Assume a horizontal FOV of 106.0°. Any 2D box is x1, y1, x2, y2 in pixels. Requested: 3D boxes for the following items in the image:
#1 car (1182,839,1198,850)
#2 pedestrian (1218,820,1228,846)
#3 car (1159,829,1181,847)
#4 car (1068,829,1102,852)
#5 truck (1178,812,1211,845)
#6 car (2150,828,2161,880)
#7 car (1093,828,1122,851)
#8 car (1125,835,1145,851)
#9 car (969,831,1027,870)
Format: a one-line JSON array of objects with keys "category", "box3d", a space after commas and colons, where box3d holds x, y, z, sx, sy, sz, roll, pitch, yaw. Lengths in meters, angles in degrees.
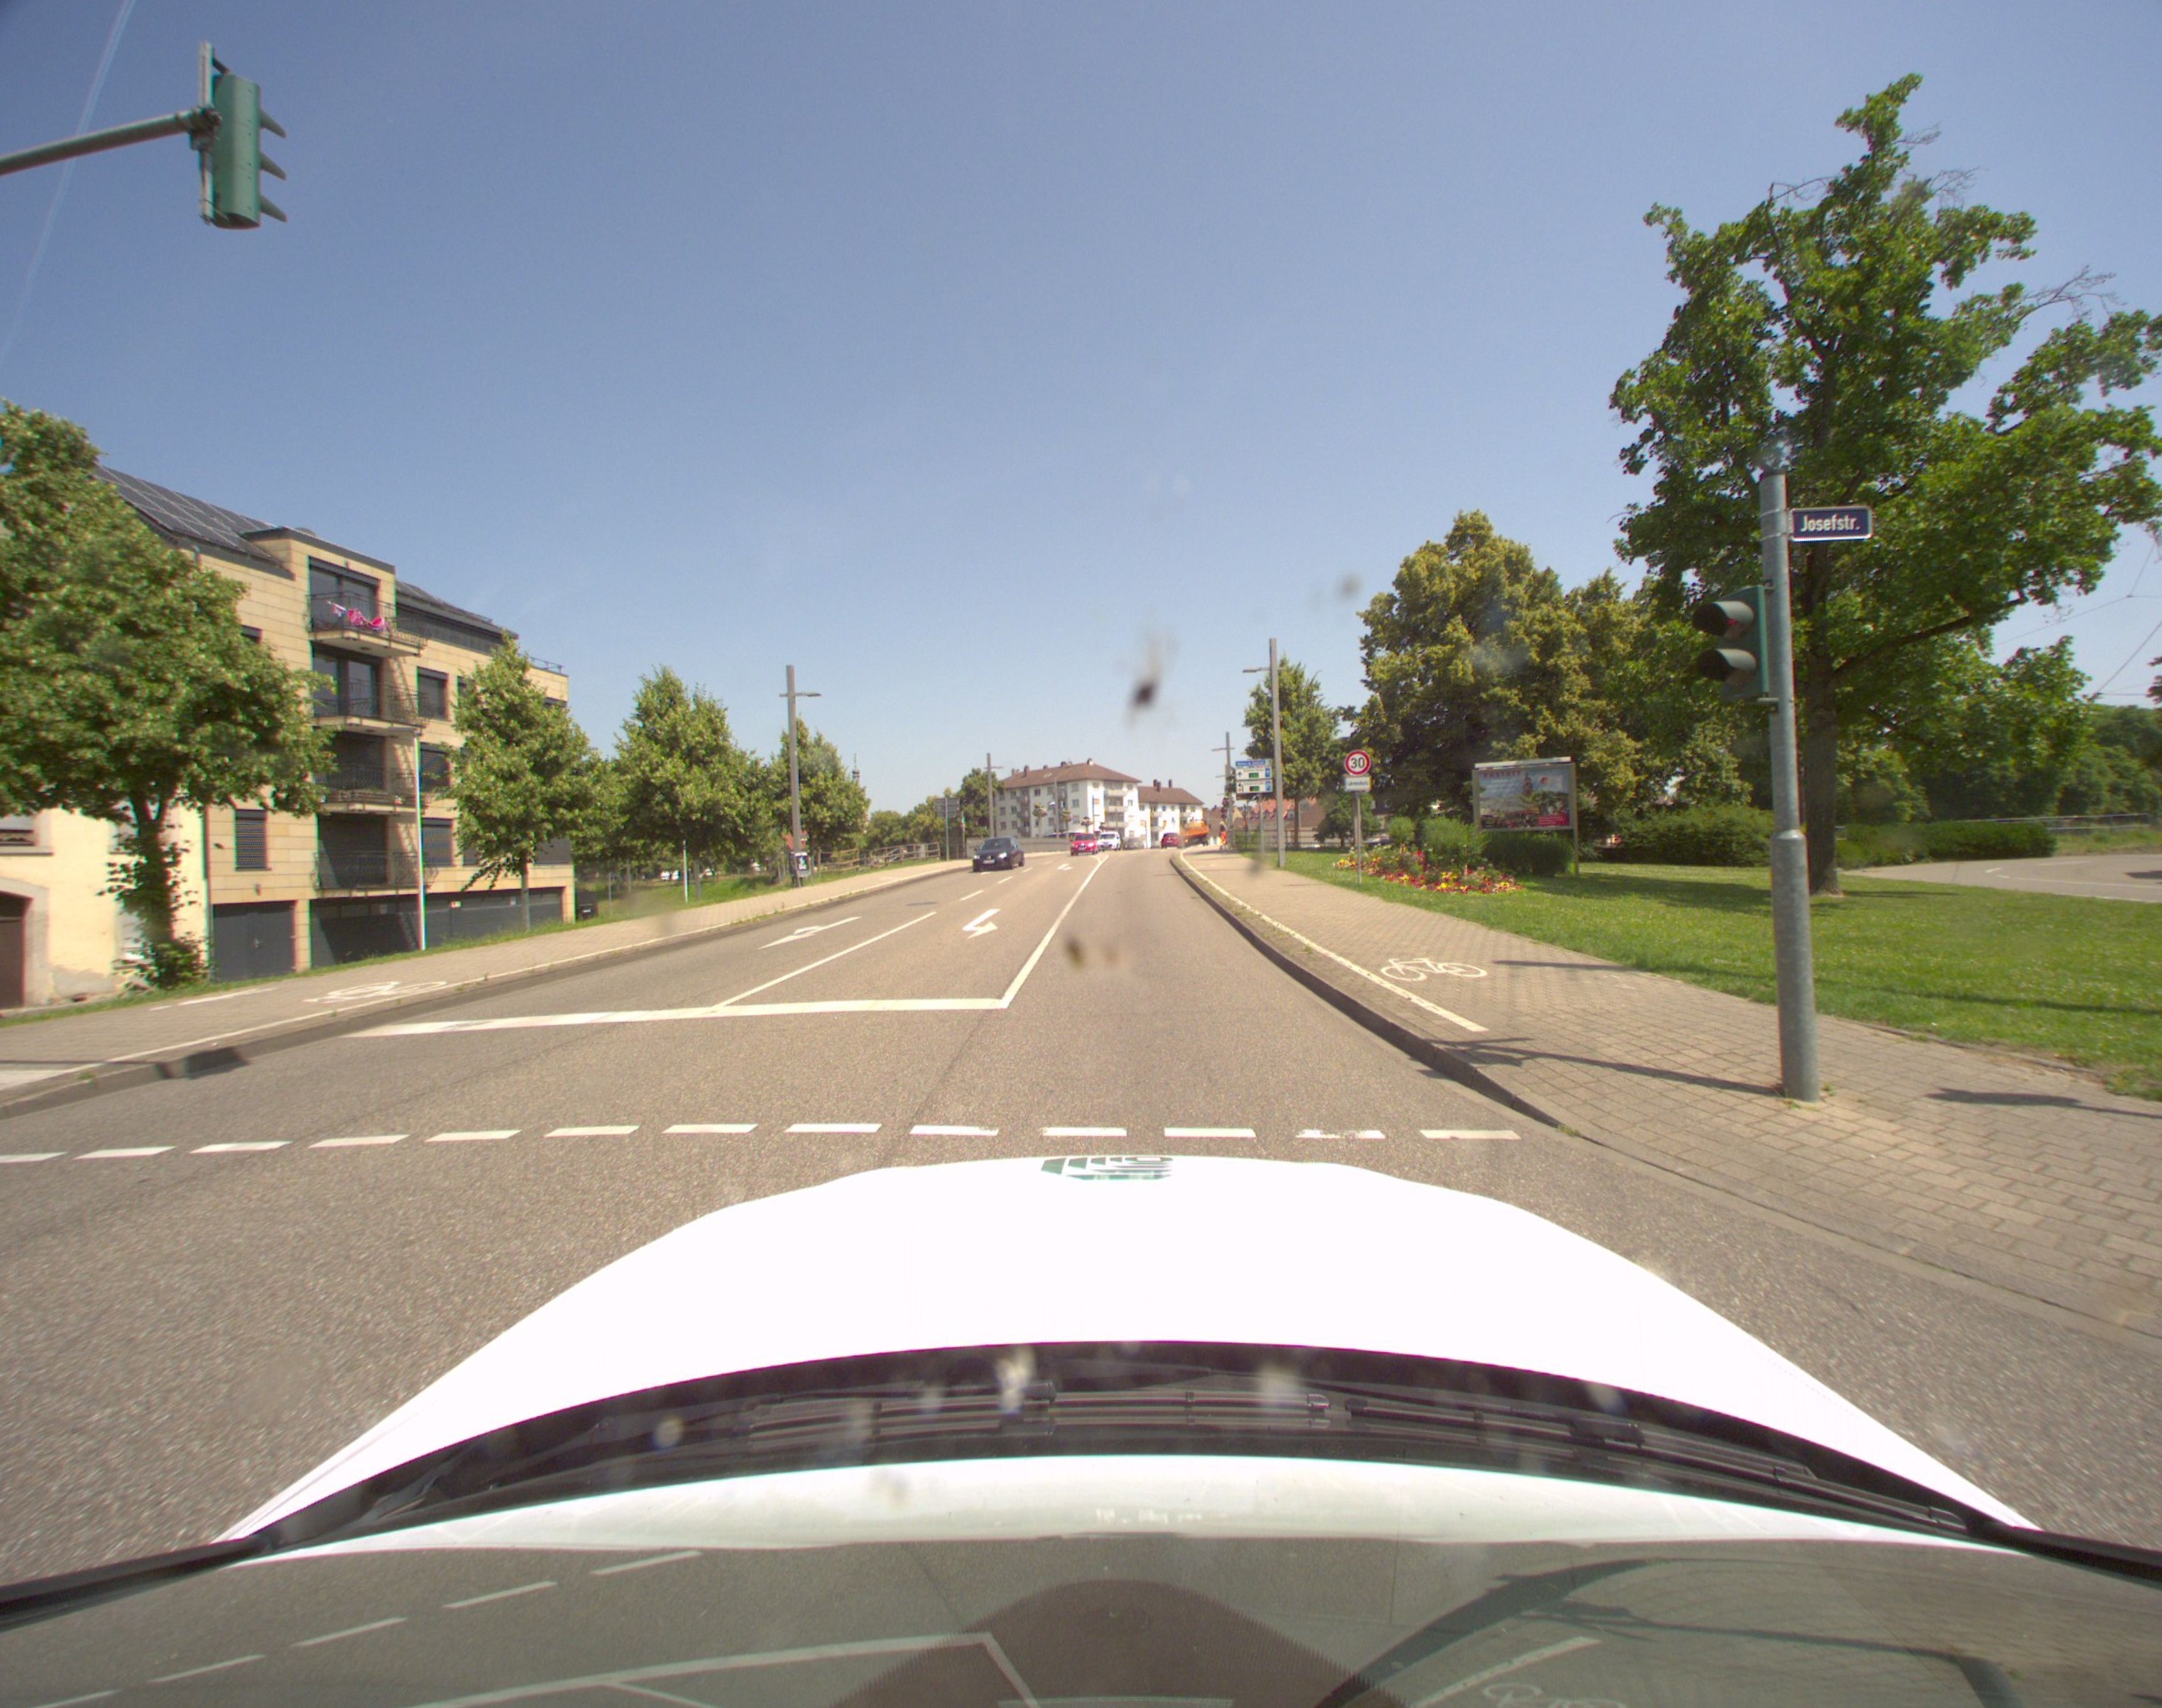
[{"category": "car", "box3d": [15.579, -1.360, 116.381, 2.026, 1.503, 4.429, -1, 0, 9]}, {"category": "pedestrian", "box3d": [10.886, -1.631, 62.347, 0.545, 1.960, 0.672, -2, -1, 0]}, {"category": "car", "box3d": [8.913, -1.573, 81.569, 1.979, 1.613, 4.352, -3, 0, 8]}, {"category": "car", "box3d": [0.329, -0.894, 54.896, 1.637, 1.464, 3.871, -2, 0, 9]}, {"category": "truck", "box3d": [10.200, -2.223, 72.599, 2.589, 2.691, 5.840, -3, 0, 10]}, {"category": "car", "box3d": [31.582, -0.006, 21.550, 1.876, 1.499, 4.553, -1, 0, 21]}, {"category": "car", "box3d": [2.502, -1.346, 74.641, 1.825, 1.860, 4.678, -4, 1, 11]}, {"category": "car", "box3d": [6.317, -1.277, 94.405, 1.726, 1.640, 3.933, -5, 0, 10]}, {"category": "car", "box3d": [-3.713, -0.190, 36.931, 1.705, 1.485, 4.040, -3, 2, 6]}]
